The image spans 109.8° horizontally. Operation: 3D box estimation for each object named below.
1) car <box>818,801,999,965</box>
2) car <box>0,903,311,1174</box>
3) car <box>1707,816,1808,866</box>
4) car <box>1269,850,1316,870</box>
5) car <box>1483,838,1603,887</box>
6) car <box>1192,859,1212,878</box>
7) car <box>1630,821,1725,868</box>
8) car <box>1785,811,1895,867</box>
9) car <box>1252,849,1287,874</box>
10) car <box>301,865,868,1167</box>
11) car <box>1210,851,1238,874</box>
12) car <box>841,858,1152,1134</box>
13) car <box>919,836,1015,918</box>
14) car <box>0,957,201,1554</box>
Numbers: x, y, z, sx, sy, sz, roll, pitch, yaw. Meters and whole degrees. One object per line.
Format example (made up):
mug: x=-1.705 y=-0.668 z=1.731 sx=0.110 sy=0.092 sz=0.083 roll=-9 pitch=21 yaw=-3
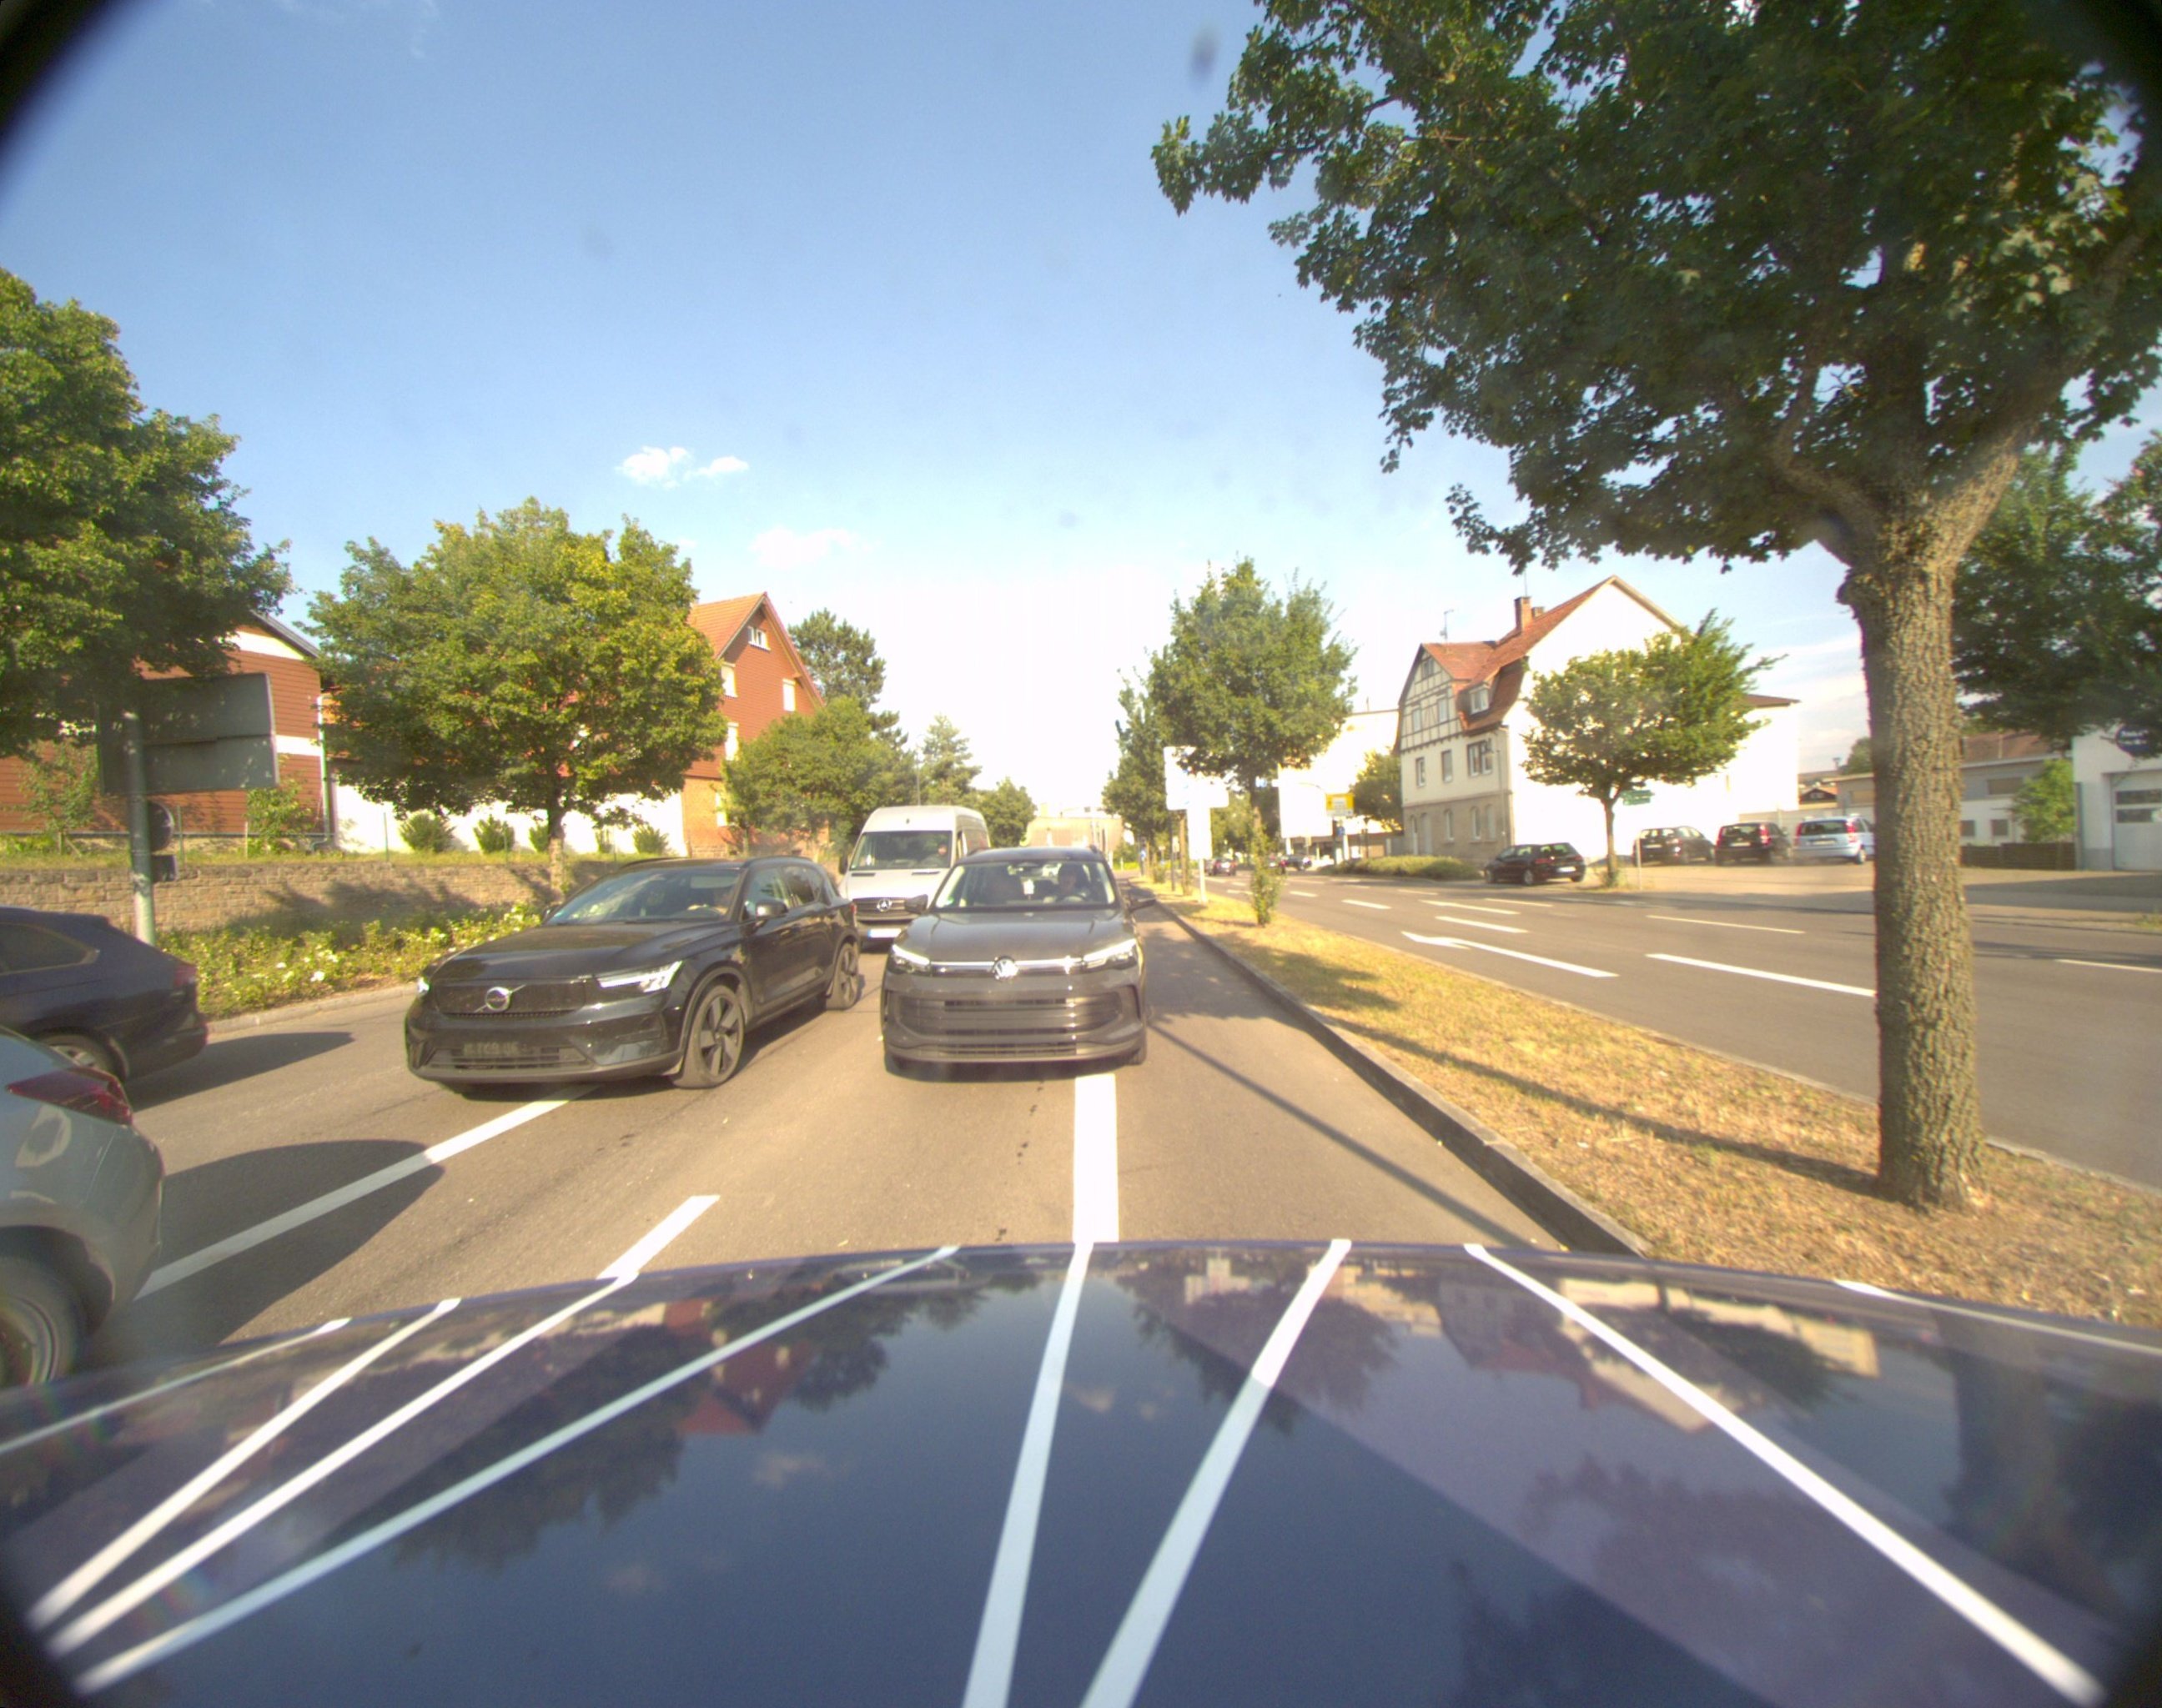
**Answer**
car: x=-3.037 y=0.446 z=14.953 sx=1.992 sy=2.554 sz=6.046 roll=-1 pitch=0 yaw=2
car: x=-7.131 y=1.153 z=3.972 sx=1.766 sy=1.445 sz=4.318 roll=-2 pitch=0 yaw=0
car: x=24.657 y=-0.491 z=27.653 sx=3.830 sy=1.493 sz=1.816 roll=-5 pitch=0 yaw=-35
car: x=19.223 y=0.542 z=69.263 sx=3.993 sy=1.664 sz=1.789 roll=-2 pitch=1 yaw=12
car: x=16.033 y=0.279 z=26.615 sx=1.818 sy=1.442 sz=3.825 roll=-5 pitch=0 yaw=1
car: x=12.105 y=1.418 z=76.007 sx=1.780 sy=1.683 sz=4.003 roll=-2 pitch=0 yaw=12
car: x=23.378 y=-0.393 z=29.749 sx=3.830 sy=1.493 sz=1.816 roll=-5 pitch=0 yaw=-35
car: x=24.879 y=-0.505 z=24.887 sx=3.830 sy=1.493 sz=1.816 roll=-5 pitch=0 yaw=-35
car: x=13.929 y=0.524 z=56.300 sx=1.781 sy=1.683 sz=4.001 roll=-2 pitch=0 yaw=4
car: x=-3.398 y=0.947 z=6.424 sx=1.845 sy=1.600 sz=4.318 roll=-1 pitch=0 yaw=2
car: x=10.950 y=0.616 z=58.308 sx=1.780 sy=1.683 sz=4.002 roll=-2 pitch=0 yaw=7
car: x=-0.448 y=0.872 z=6.715 sx=1.845 sy=1.600 sz=4.318 roll=-1 pitch=0 yaw=2
car: x=-3.015 y=0.559 z=20.948 sx=1.845 sy=2.018 sz=4.318 roll=-1 pitch=0 yaw=2
car: x=-3.612 y=1.060 z=0.177 sx=1.766 sy=1.445 sz=4.318 roll=-1 pitch=0 yaw=0
